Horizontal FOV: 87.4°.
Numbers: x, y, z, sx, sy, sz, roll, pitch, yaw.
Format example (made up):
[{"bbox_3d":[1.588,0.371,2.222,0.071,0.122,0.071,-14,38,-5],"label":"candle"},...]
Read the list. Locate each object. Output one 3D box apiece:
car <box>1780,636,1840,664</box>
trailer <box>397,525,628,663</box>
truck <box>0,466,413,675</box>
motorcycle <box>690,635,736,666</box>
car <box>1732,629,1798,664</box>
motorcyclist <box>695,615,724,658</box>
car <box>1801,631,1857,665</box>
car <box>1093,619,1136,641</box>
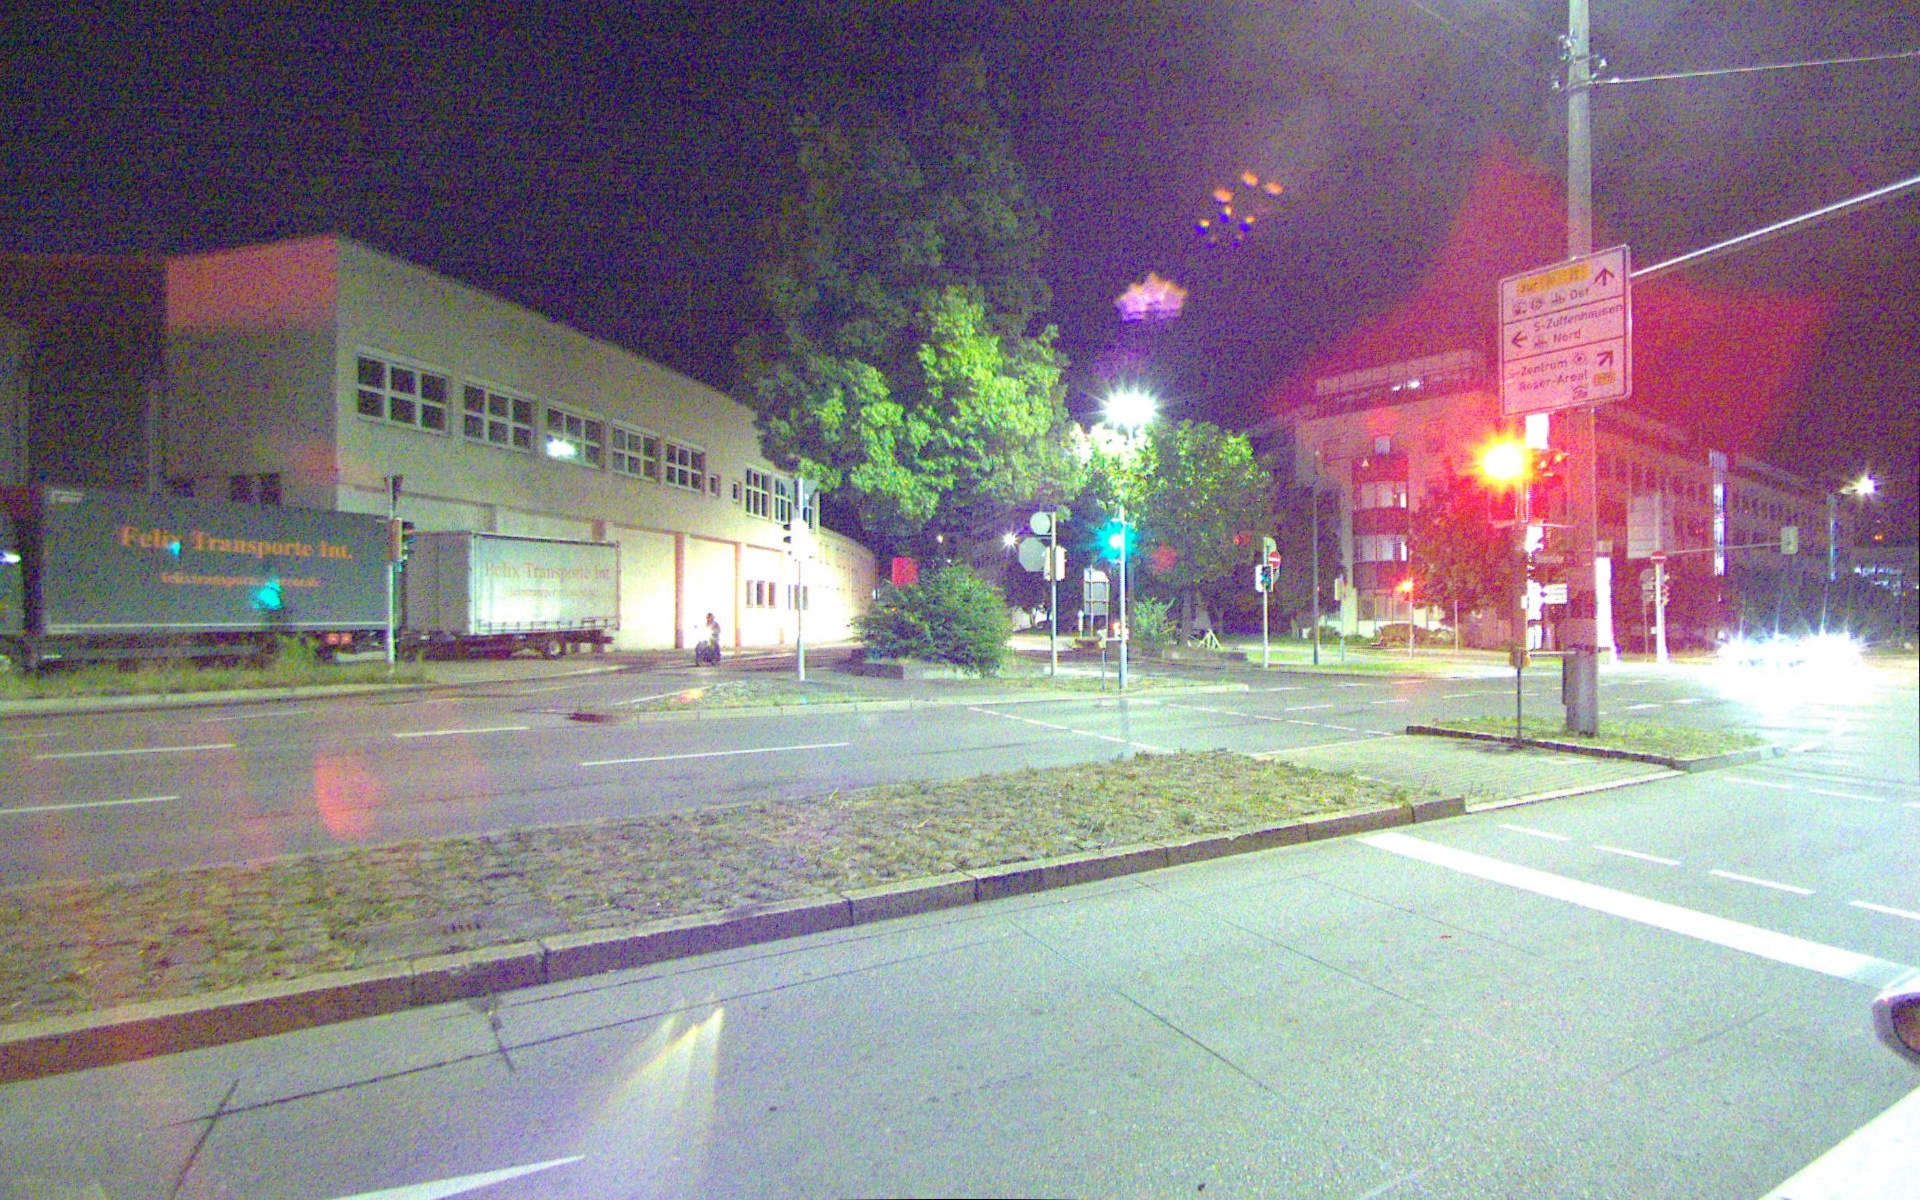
[{"bbox_3d":[43.029,2.525,50.848,3.518,1.339,1.743,3,-2,-39],"label":"car"},{"bbox_3d":[-13.682,-0.079,31.336,2.571,3.840,6.512,1,-2,23],"label":"trailer"},{"bbox_3d":[-17.489,-0.437,22.232,2.892,3.846,9.552,1,-2,25],"label":"truck"},{"bbox_3d":[-7.430,1.504,30.313,0.568,0.907,2.157,-1,-2,9],"label":"motorcycle"},{"bbox_3d":[37.303,2.161,46.522,3.966,1.535,1.603,3,-2,-39],"label":"car"},{"bbox_3d":[-7.538,1.094,30.235,0.635,1.278,0.579,1,-1,9],"label":"motorcyclist"},{"bbox_3d":[47.331,2.619,54.686,3.518,1.750,1.743,3,-2,-39],"label":"car"},{"bbox_3d":[11.431,2.199,74.626,1.681,1.511,3.988,2,-2,-15],"label":"car"}]
